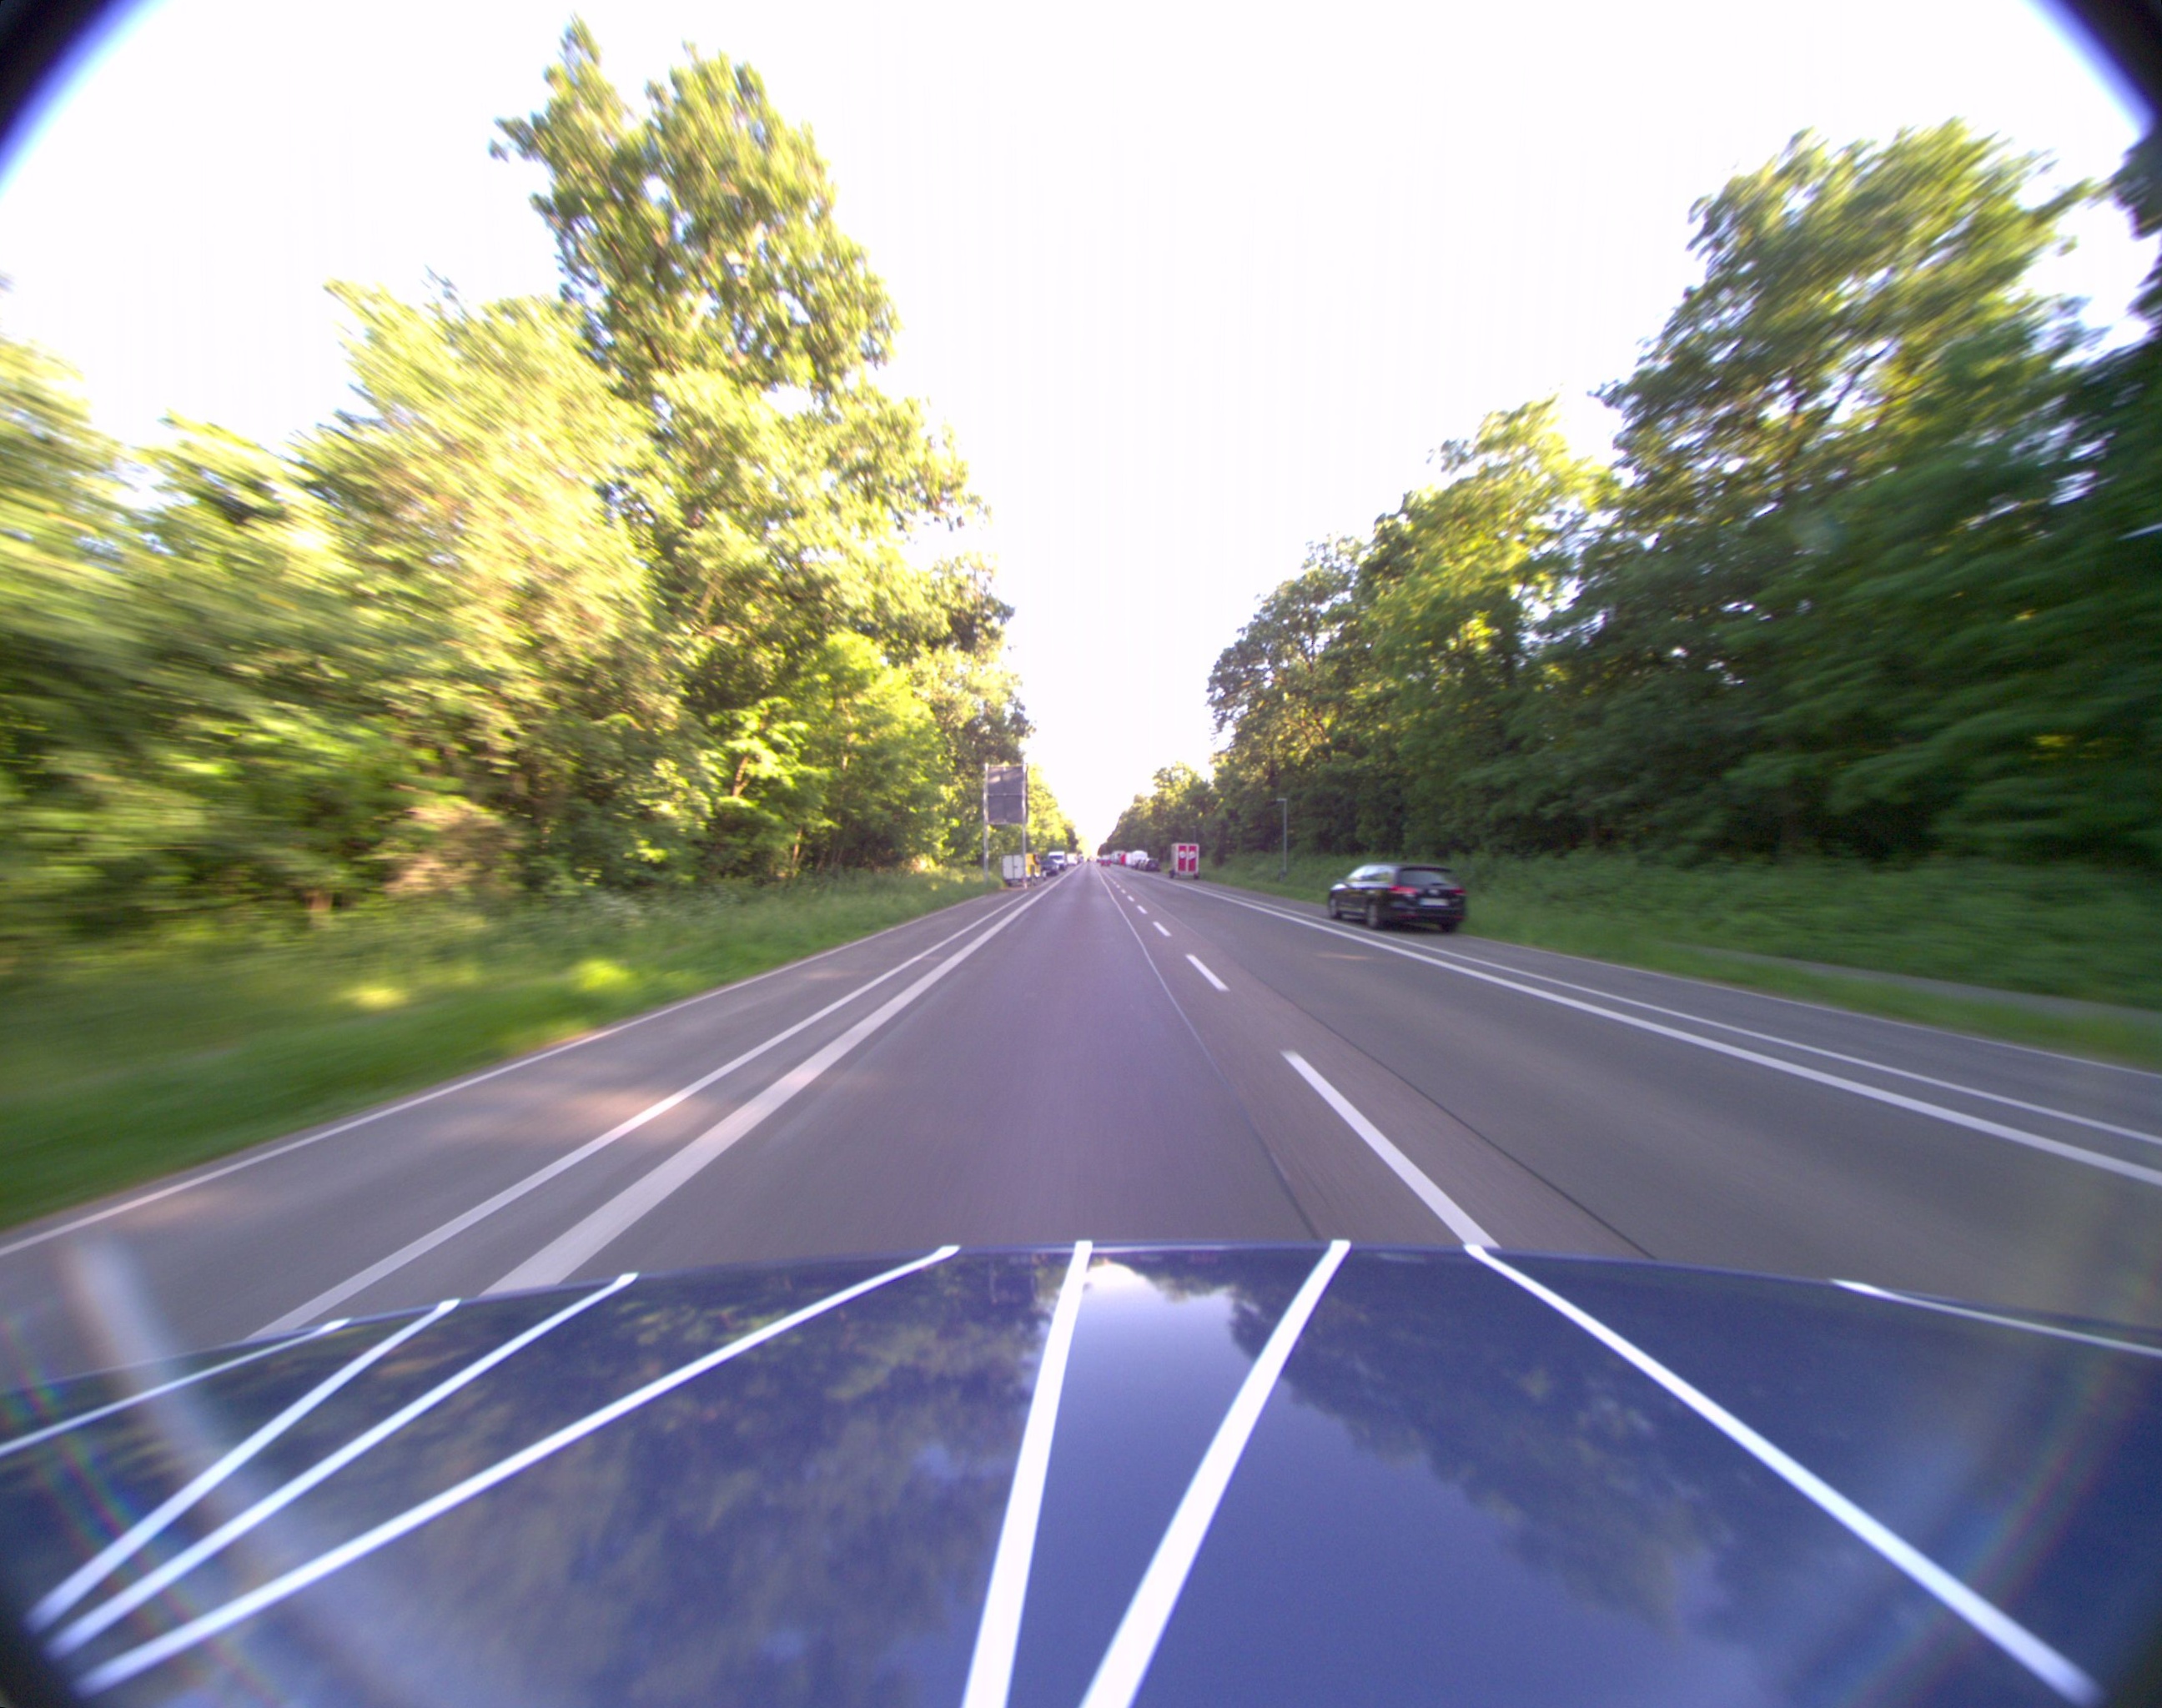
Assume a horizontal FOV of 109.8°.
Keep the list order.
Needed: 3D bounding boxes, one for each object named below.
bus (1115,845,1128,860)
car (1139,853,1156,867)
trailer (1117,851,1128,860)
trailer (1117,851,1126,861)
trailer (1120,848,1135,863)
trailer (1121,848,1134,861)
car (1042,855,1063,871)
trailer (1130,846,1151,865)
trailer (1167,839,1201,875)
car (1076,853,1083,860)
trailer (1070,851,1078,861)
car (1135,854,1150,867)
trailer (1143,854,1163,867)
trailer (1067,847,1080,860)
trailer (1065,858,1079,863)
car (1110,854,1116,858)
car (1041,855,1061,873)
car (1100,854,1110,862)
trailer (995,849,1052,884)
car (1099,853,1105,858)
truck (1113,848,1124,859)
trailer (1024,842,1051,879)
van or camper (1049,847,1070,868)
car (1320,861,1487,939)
[{"bbox_3d":[10.008,-0.436,189.625,2.835,3.411,11.199,-2,1,1],"label":"bus"},{"bbox_3d":[8.097,0.717,92.499,1.675,1.565,5.127,2,1,1],"label":"car"},{"bbox_3d":[9.823,0.359,180.896,2.434,1.903,6.264,-1,0,1],"label":"trailer"},{"bbox_3d":[8.960,0.449,167.387,1.857,2.002,3.561,2,0,1],"label":"trailer"},{"bbox_3d":[7.833,0.278,127.884,2.072,2.466,3.560,0,0,-2],"label":"trailer"},{"bbox_3d":[8.746,0.122,142.321,2.072,2.466,3.560,0,0,-2],"label":"trailer"},{"bbox_3d":[-2.725,0.855,73.523,1.739,1.479,4.400,-3,0,0],"label":"car"},{"bbox_3d":[8.256,0.166,105.303,2.352,2.514,4.343,0,0,-2],"label":"trailer"},{"bbox_3d":[7.673,0.213,56.782,1.998,2.606,4.086,-1,0,1],"label":"trailer"},{"bbox_3d":[-0.294,0.631,201.350,1.804,1.681,4.601,-2,1,1],"label":"car"},{"bbox_3d":[-1.535,0.413,163.182,1.758,2.149,3.539,-1,0,0],"label":"trailer"},{"bbox_3d":[7.999,0.804,98.790,1.675,1.486,4.194,2,1,1],"label":"car"},{"bbox_3d":[8.069,0.723,85.805,1.845,1.457,4.466,-1,0,1],"label":"trailer"},{"bbox_3d":[-1.720,-0.196,185.801,2.928,2.825,9.881,-4,1,0],"label":"trailer"},{"bbox_3d":[-1.763,1.214,149.072,2.439,0.794,5.659,-2,0,1],"label":"trailer"},{"bbox_3d":[10.051,0.591,237.143,1.787,1.485,4.002,0,0,5],"label":"car"},{"bbox_3d":[-2.683,0.867,68.497,1.590,1.521,3.011,-3,0,1],"label":"car"},{"bbox_3d":[4.266,0.720,135.384,1.608,1.412,3.518,1,0,1],"label":"car"},{"bbox_3d":[-3.457,0.728,46.315,1.964,2.011,3.849,-1,0,21],"label":"trailer"},{"bbox_3d":[6.870,0.584,243.906,1.824,1.524,4.530,0,1,1],"label":"car"},{"bbox_3d":[9.908,-0.093,200.897,2.489,2.807,8.424,-1,0,1],"label":"truck"},{"bbox_3d":[-3.051,0.440,53.989,1.617,2.494,4.000,-2,1,1],"label":"trailer"},{"bbox_3d":[-2.647,0.394,94.011,2.130,2.468,6.305,-1,0,2],"label":"van or camper"},{"bbox_3d":[7.138,0.942,17.457,1.859,1.456,4.784,-1,0,1],"label":"car"}]
